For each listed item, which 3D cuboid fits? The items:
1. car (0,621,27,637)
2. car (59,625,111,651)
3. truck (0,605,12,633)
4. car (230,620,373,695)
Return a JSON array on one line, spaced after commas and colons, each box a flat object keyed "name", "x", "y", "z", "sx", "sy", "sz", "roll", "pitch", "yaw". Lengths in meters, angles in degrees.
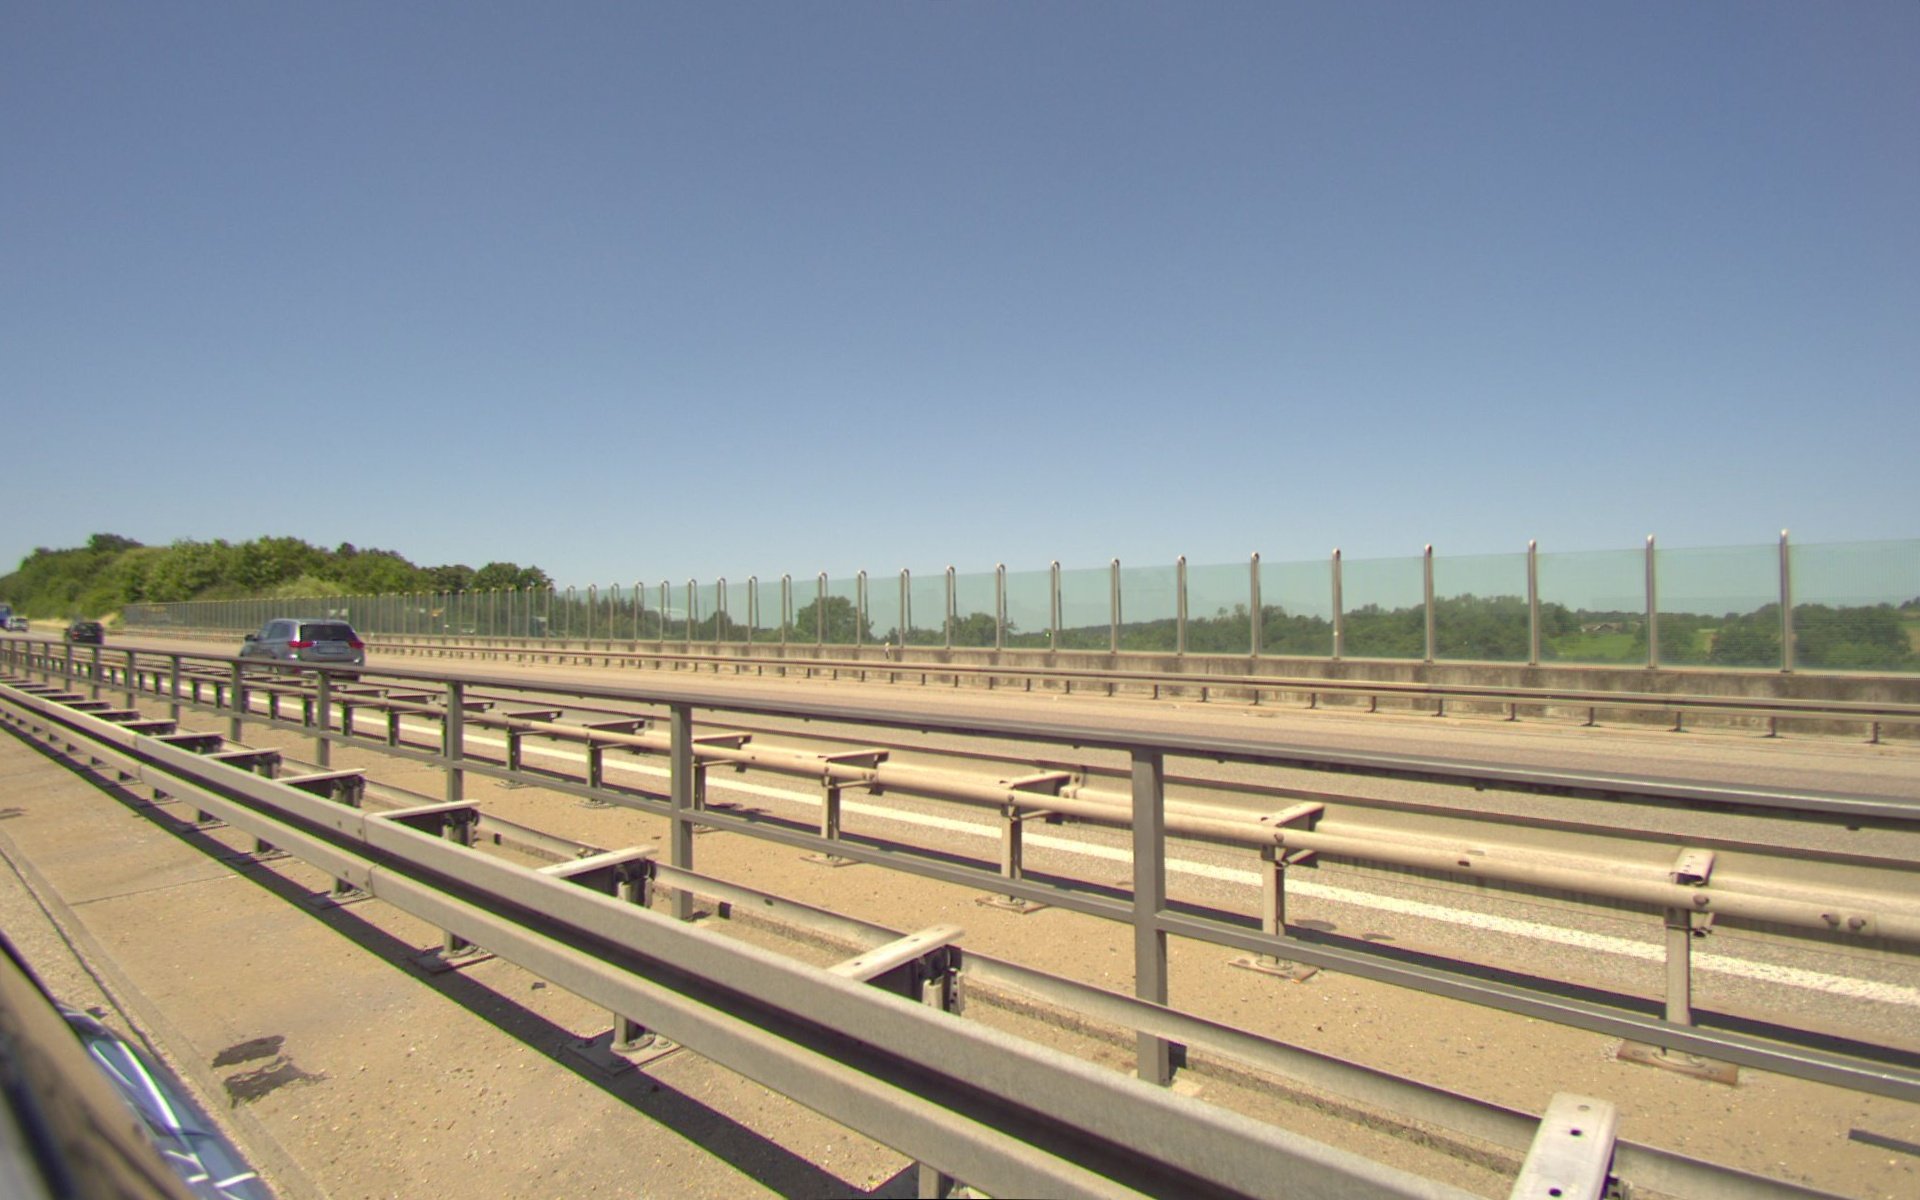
[{"name": "car", "x": -122.810, "y": 3.723, "z": 131.301, "sx": 4.487, "sy": 1.999, "sz": 2.013, "roll": -2, "pitch": -5, "yaw": 41}, {"name": "car", "x": -58.759, "y": 2.550, "z": 67.943, "sx": 4.183, "sy": 1.685, "sz": 1.973, "roll": -1, "pitch": -4, "yaw": 40}, {"name": "truck", "x": -146.478, "y": 2.928, "z": 153.496, "sx": 9.987, "sy": 4.117, "sz": 2.839, "roll": -1, "pitch": -4, "yaw": 42}, {"name": "car", "x": -16.443, "y": 1.358, "z": 25.179, "sx": 4.475, "sy": 1.639, "sz": 1.787, "roll": -1, "pitch": 0, "yaw": 41}]
